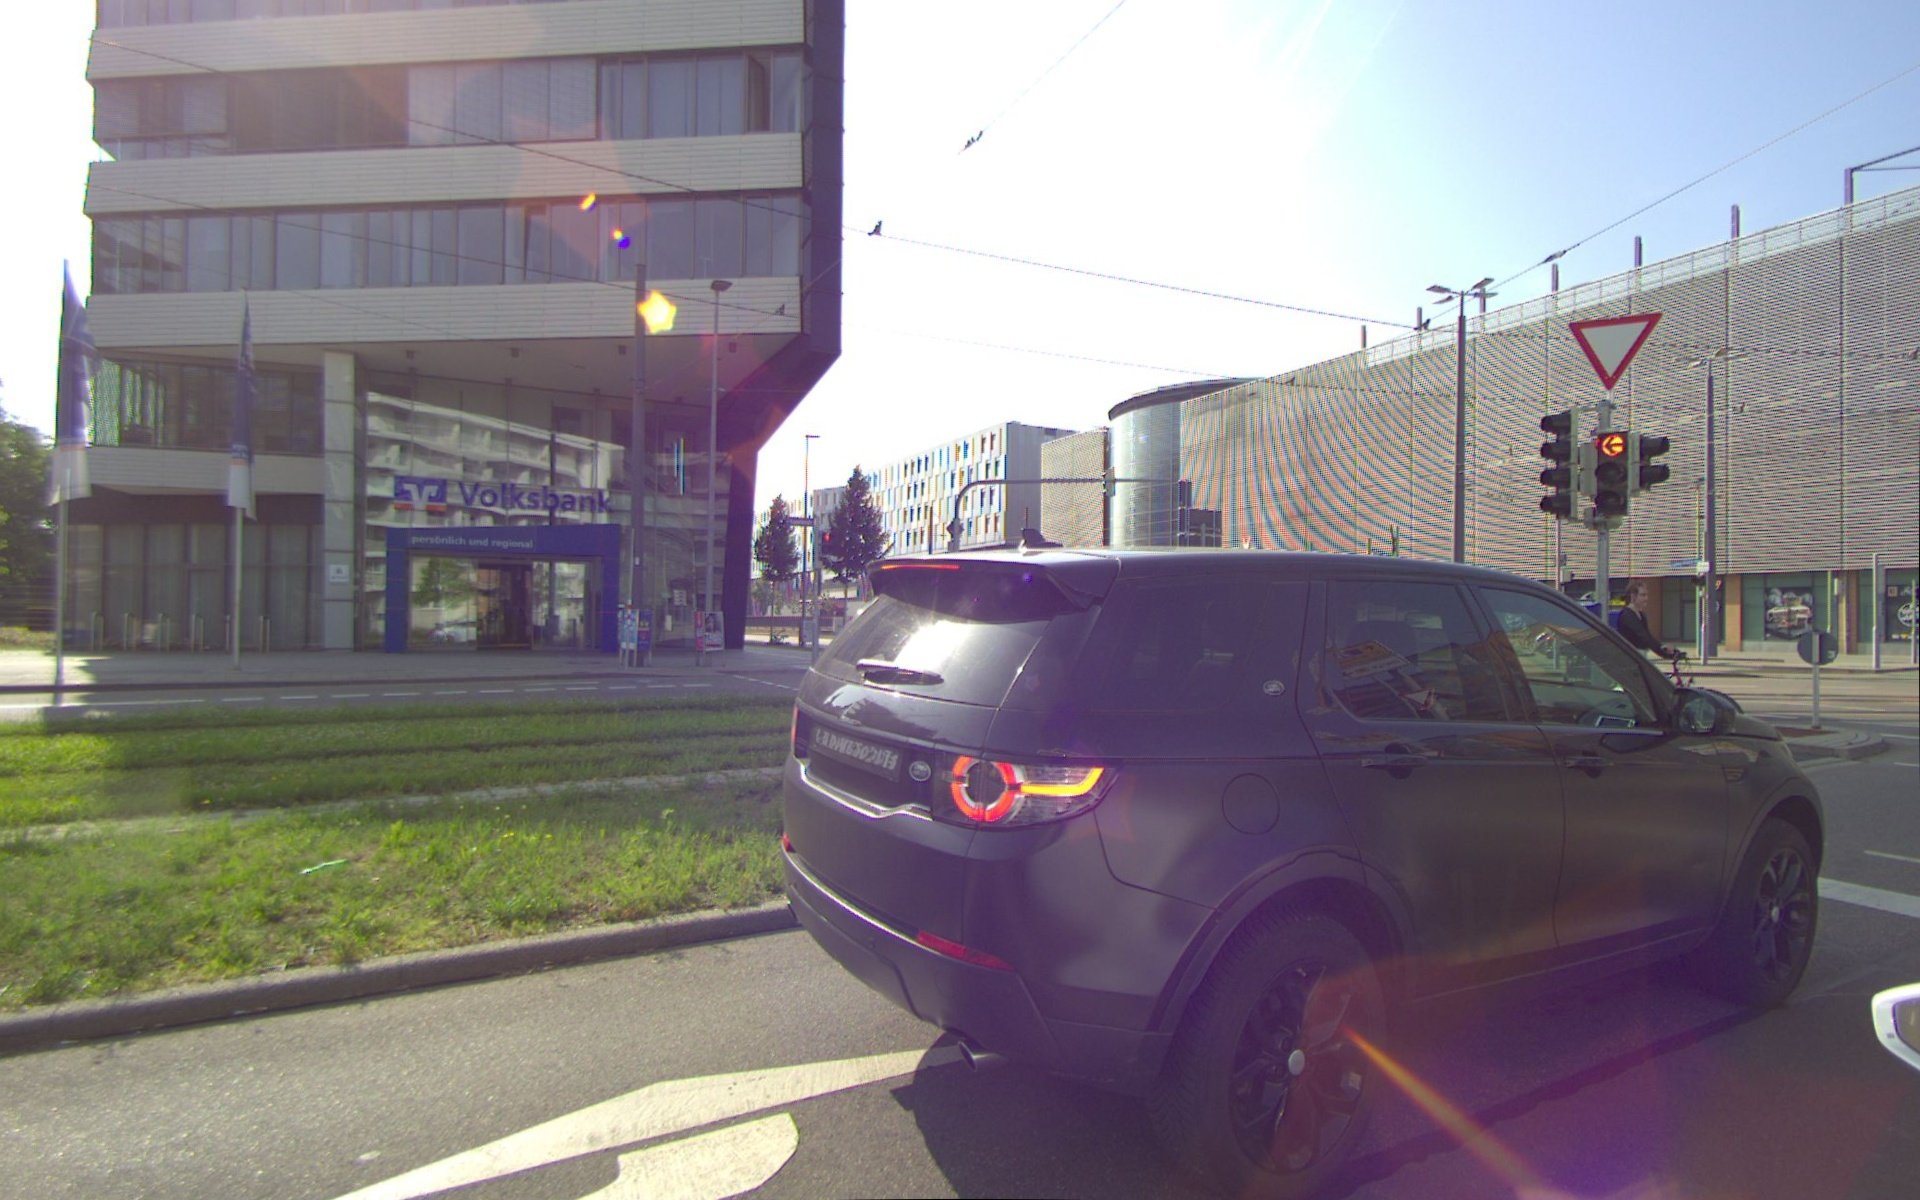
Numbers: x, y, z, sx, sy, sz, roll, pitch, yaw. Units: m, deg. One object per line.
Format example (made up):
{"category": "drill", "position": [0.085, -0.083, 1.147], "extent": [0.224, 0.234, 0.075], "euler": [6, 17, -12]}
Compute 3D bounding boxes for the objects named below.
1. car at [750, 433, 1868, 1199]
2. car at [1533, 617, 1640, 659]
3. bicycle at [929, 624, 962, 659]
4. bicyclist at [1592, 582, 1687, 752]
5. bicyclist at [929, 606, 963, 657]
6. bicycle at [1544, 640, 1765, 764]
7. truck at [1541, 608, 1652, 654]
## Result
{"category": "car", "position": [1.485, 0.570, 3.879], "extent": [4.171, 1.700, 1.789], "euler": [1, -2, -30]}
{"category": "car", "position": [26.786, 1.590, 42.942], "extent": [3.942, 1.718, 1.990], "euler": [1, -1, -22]}
{"category": "bicycle", "position": [-0.495, 1.340, 32.987], "extent": [0.413, 1.070, 1.950], "euler": [2, 0, -21]}
{"category": "bicyclist", "position": [7.205, 0.688, 10.649], "extent": [0.664, 1.725, 0.630], "euler": [2, 0, -38]}
{"category": "bicyclist", "position": [-0.468, 1.025, 32.953], "extent": [0.772, 1.607, 0.927], "euler": [2, 0, -22]}
{"category": "bicycle", "position": [7.253, 1.019, 10.572], "extent": [0.664, 1.113, 1.785], "euler": [2, 0, -38]}
{"category": "truck", "position": [33.560, 1.608, 53.084], "extent": [2.183, 2.352, 4.511], "euler": [1, -1, -32]}
